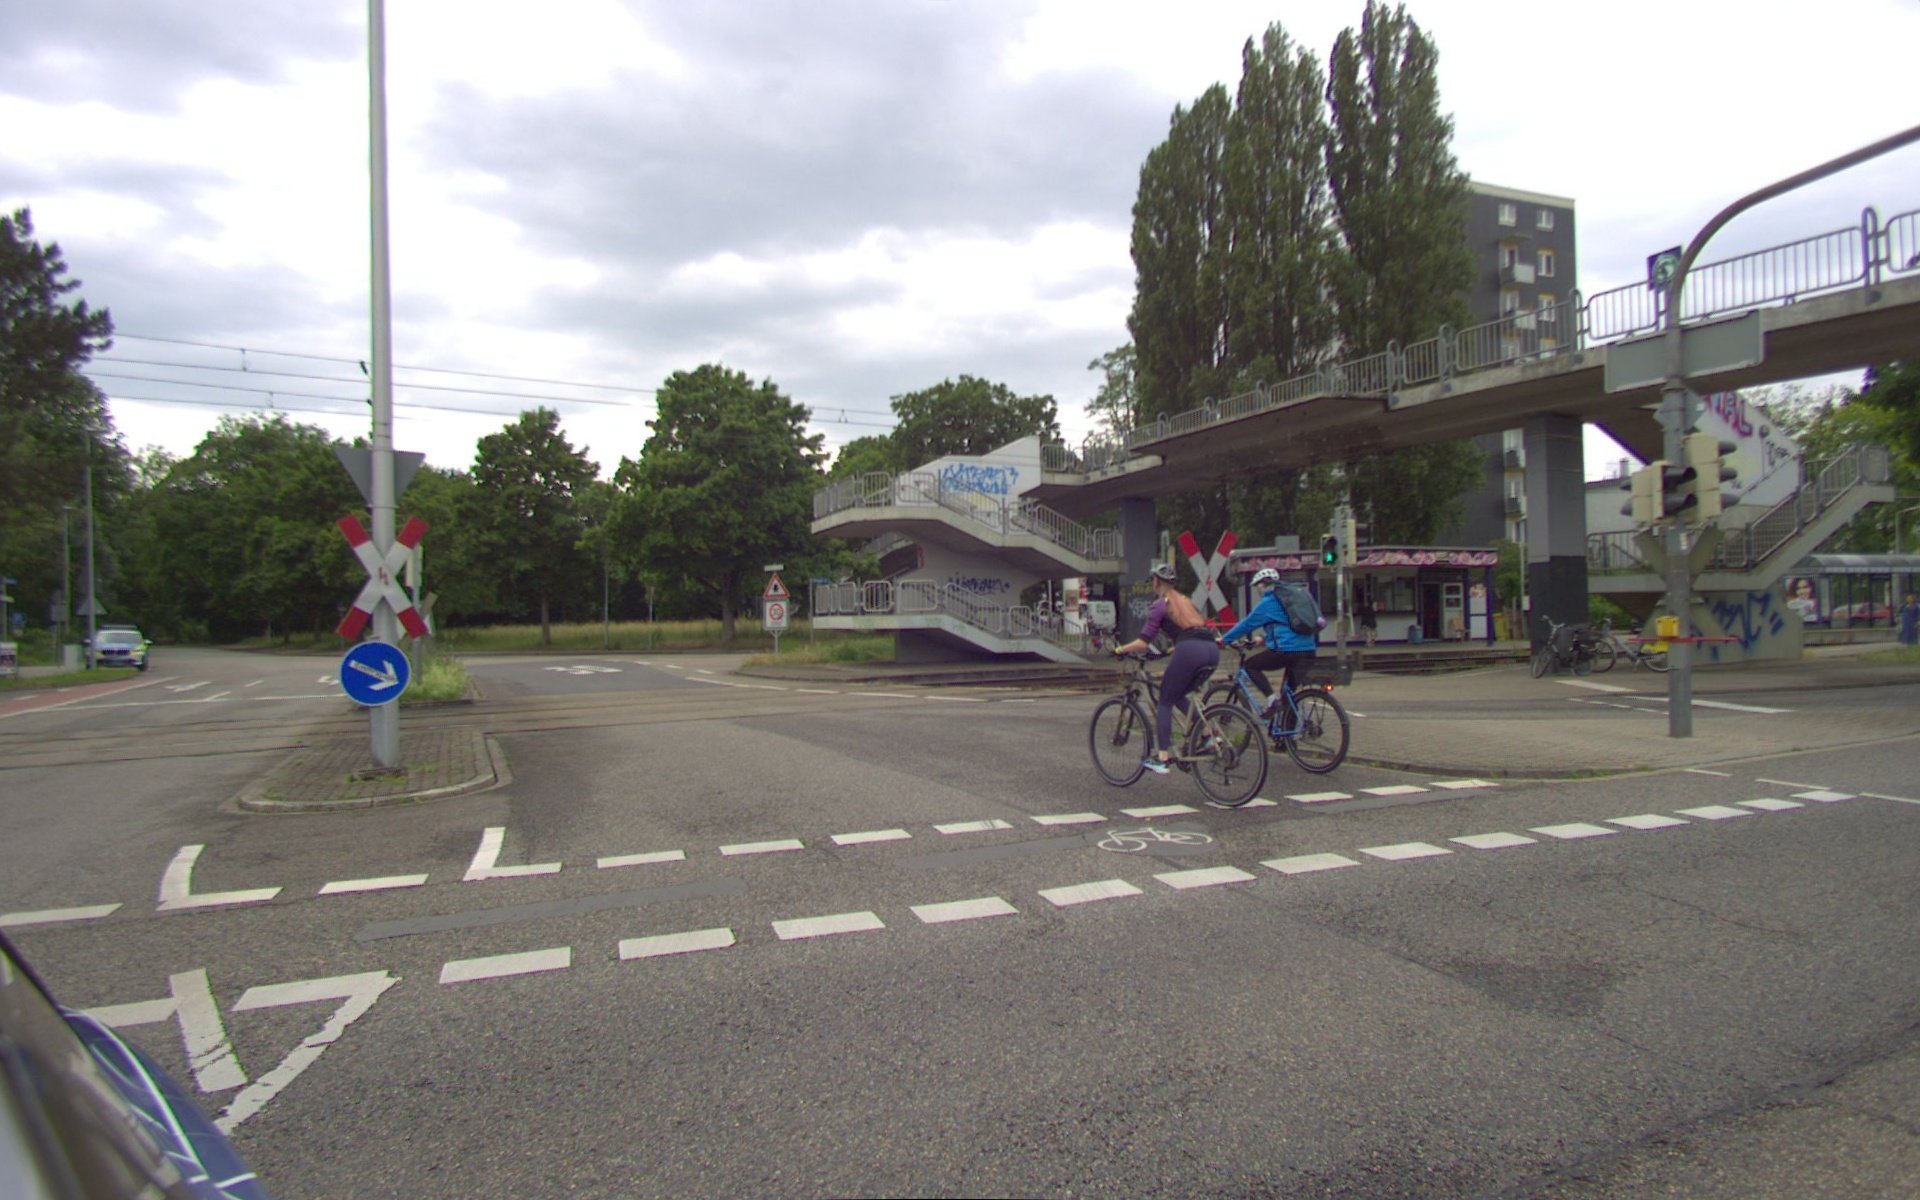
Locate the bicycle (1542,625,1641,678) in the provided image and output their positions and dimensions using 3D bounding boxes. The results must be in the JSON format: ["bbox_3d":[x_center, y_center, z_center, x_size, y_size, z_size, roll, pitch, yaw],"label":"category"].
[{"bbox_3d":[12.088,0.975,19.374,2.003,0.928,0.375,-1,-1,-17],"label":"bicycle"}]

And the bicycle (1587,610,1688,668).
[{"bbox_3d":[13.347,0.767,19.965,1.612,1.103,0.347,-2,-1,35],"label":"bicycle"}]

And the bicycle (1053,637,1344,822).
[{"bbox_3d":[1.638,0.849,7.455,0.716,1.109,2.271,-1,-1,-29],"label":"bicycle"}]

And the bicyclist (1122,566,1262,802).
[{"bbox_3d":[1.678,0.575,7.365,0.669,1.606,0.697,-1,-1,-29],"label":"bicyclist"}]

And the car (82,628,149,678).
[{"bbox_3d":[-33.409,2.062,40.011,1.907,1.864,4.006,2,-3,-41],"label":"car"}]

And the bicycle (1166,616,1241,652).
[{"bbox_3d":[8.252,1.137,34.220,2.745,1.123,0.994,0,-2,-40],"label":"bicycle"}]

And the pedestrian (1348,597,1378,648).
[{"bbox_3d":[13.479,0.763,33.837,0.674,1.677,0.544,-1,-2,-23],"label":"pedestrian"}]

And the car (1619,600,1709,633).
[{"bbox_3d":[35.708,0.851,51.346,3.931,1.572,1.673,-1,-1,-18],"label":"car"}]

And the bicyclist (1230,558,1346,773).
[{"bbox_3d":[2.855,0.541,8.837,0.635,1.782,0.649,-1,-1,-27],"label":"bicyclist"}]

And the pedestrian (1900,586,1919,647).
[{"bbox_3d":[24.819,0.426,26.216,0.329,1.576,0.562,0,-1,-28],"label":"pedestrian"}]

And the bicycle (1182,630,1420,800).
[{"bbox_3d":[2.858,0.903,8.762,0.535,1.277,2.117,-1,-1,-29],"label":"bicycle"}]

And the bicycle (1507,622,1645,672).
[{"bbox_3d":[11.849,0.893,19.479,2.370,0.895,0.558,-1,-1,-5],"label":"bicycle"}]

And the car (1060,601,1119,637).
[{"bbox_3d":[8.837,1.279,69.479,2.105,2.309,5.223,-2,0,-16],"label":"car"}]
